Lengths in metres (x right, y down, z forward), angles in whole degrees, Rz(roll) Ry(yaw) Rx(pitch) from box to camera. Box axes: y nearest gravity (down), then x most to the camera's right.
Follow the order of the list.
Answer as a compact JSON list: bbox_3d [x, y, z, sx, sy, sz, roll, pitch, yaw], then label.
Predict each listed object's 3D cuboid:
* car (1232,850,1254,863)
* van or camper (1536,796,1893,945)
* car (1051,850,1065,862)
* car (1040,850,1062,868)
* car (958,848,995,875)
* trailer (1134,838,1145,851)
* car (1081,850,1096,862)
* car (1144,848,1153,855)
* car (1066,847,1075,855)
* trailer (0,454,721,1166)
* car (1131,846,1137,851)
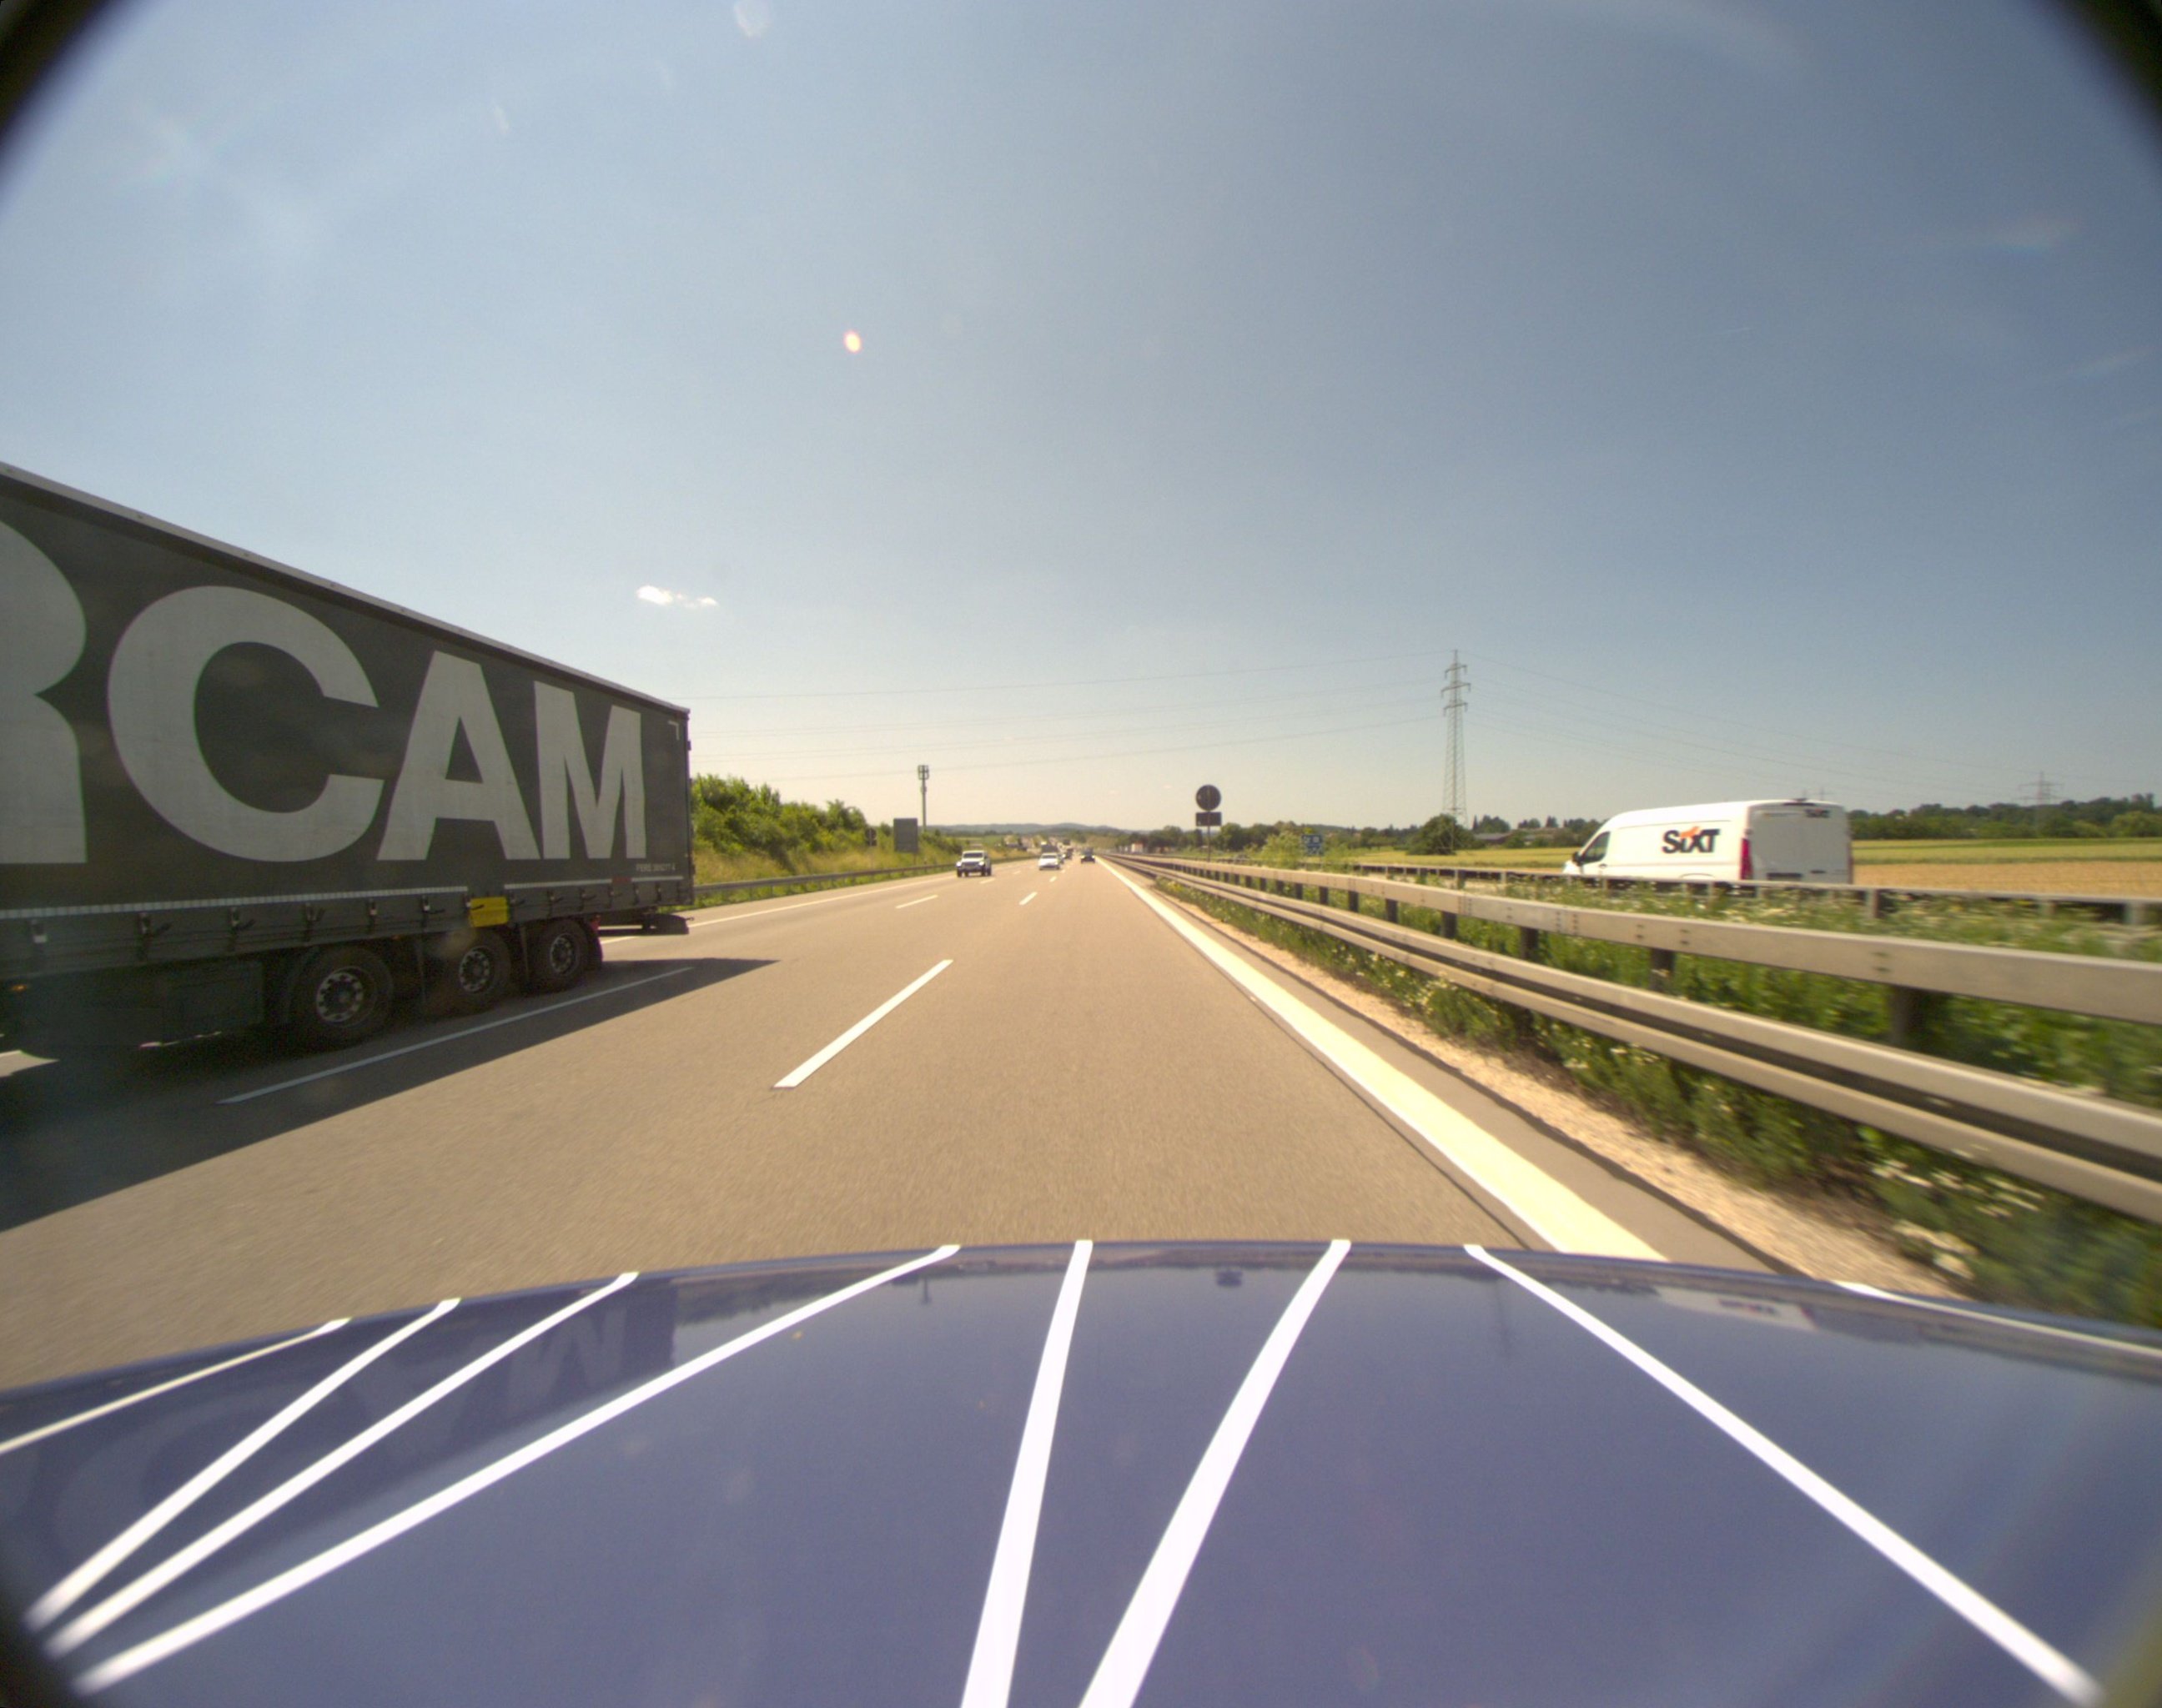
[{"bbox_3d":[17.864,0.259,83.775,1.577,1.299,4.041,0,1,1],"label":"car"},{"bbox_3d":[12.921,0.256,16.431,2.233,2.494,6.596,-2,1,1],"label":"van or camper"},{"bbox_3d":[-2.940,0.239,98.380,1.634,1.381,3.999,-2,1,-1],"label":"car"},{"bbox_3d":[-2.663,0.439,68.631,1.780,1.425,4.690,-2,1,0],"label":"car"},{"bbox_3d":[-7.464,0.504,54.787,2.040,1.794,4.249,-2,1,0],"label":"car"},{"bbox_3d":[19.467,-3.108,252.368,2.840,4.023,11.663,-2,1,0],"label":"trailer"},{"bbox_3d":[0.956,0.207,98.234,1.751,1.439,3.999,-2,1,-1],"label":"car"},{"bbox_3d":[14.656,-0.639,165.483,1.675,1.432,4.565,1,1,0],"label":"car"},{"bbox_3d":[-2.063,-0.579,146.533,1.751,1.559,3.999,-2,1,-1],"label":"car"},{"bbox_3d":[-7.592,-0.271,6.879,2.732,4.131,11.806,-2,1,1],"label":"trailer"},{"bbox_3d":[16.135,-1.562,231.142,1.486,1.417,3.608,1,0,-1],"label":"car"}]
